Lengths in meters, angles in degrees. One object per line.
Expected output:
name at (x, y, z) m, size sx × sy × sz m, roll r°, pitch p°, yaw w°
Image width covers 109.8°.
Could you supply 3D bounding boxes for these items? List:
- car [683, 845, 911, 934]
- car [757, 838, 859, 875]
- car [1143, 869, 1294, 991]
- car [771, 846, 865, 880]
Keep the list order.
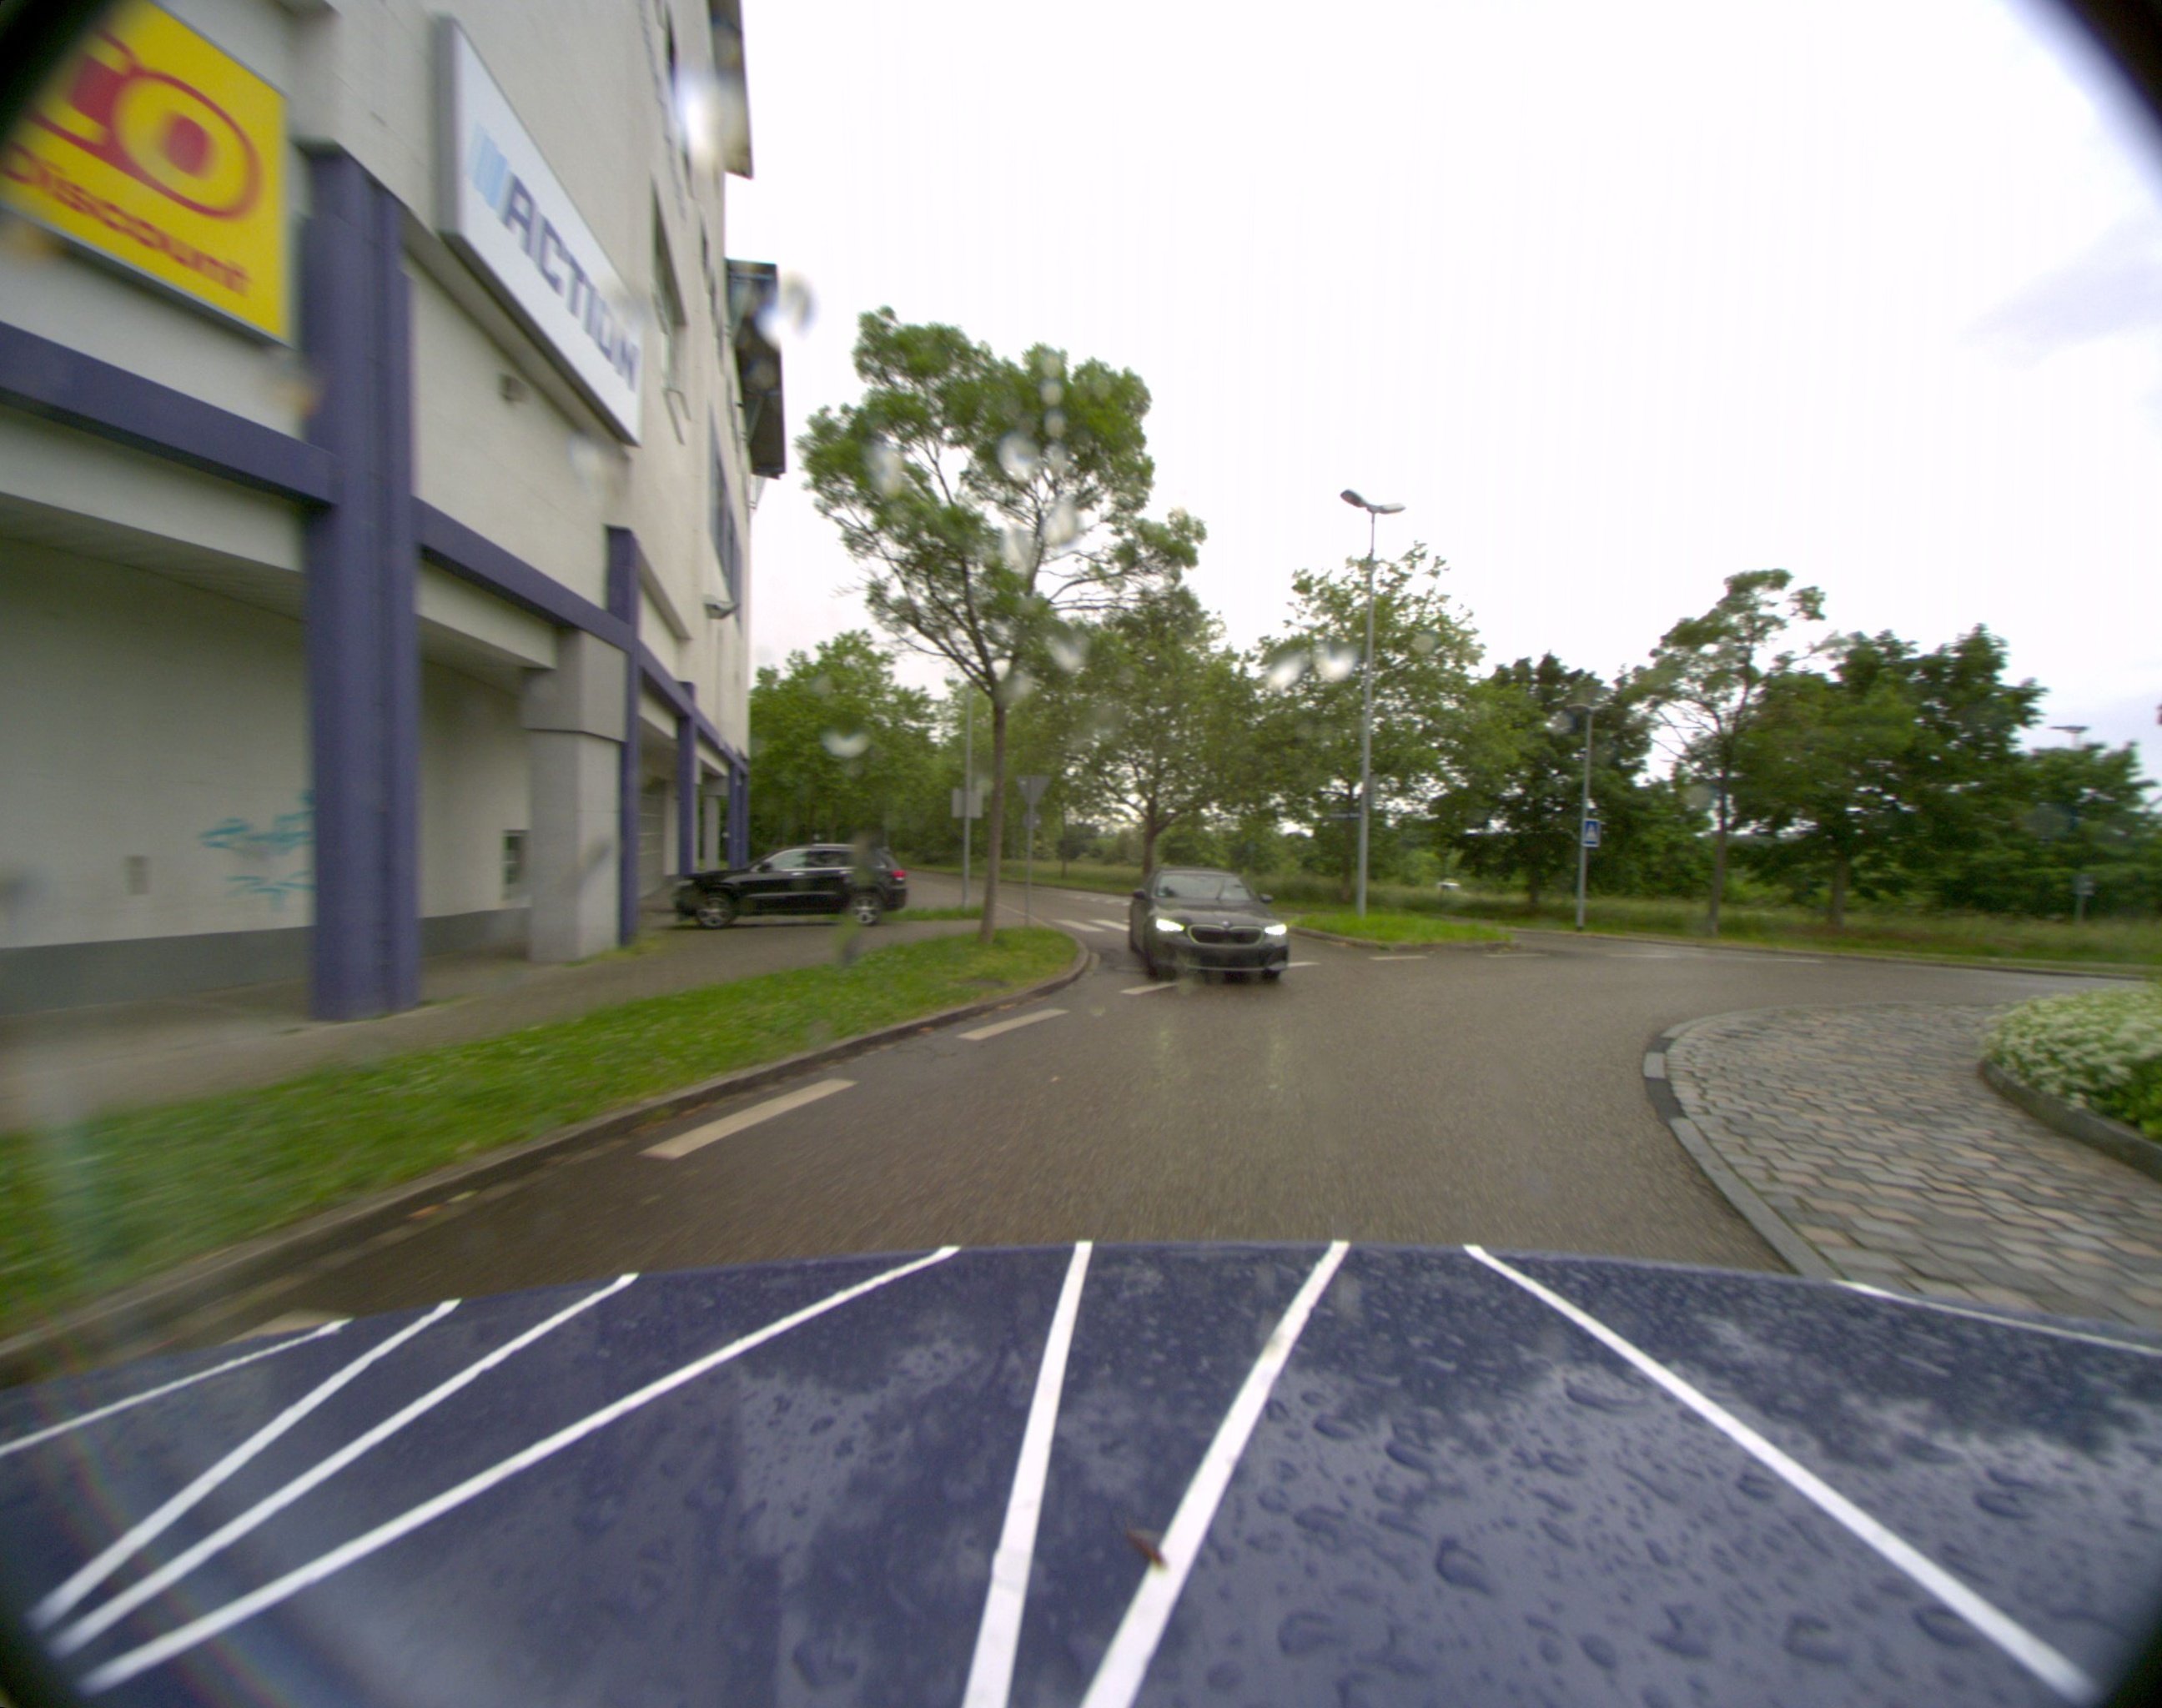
car at (-6.048, 0.722, 16.488) m, size 4.396 × 1.748 × 1.826 m, roll 0°, pitch -1°, yaw -22°
car at (-11.565, 0.107, 32.264) m, size 3.955 × 1.444 × 1.717 m, roll 1°, pitch 1°, yaw -21°
car at (1.923, 0.999, 11.998) m, size 1.843 × 1.485 × 4.904 m, roll 0°, pitch -1°, yaw 4°
car at (-13.956, 0.486, 40.322) m, size 4.492 × 1.670 × 1.763 m, roll 1°, pitch 0°, yaw -26°
